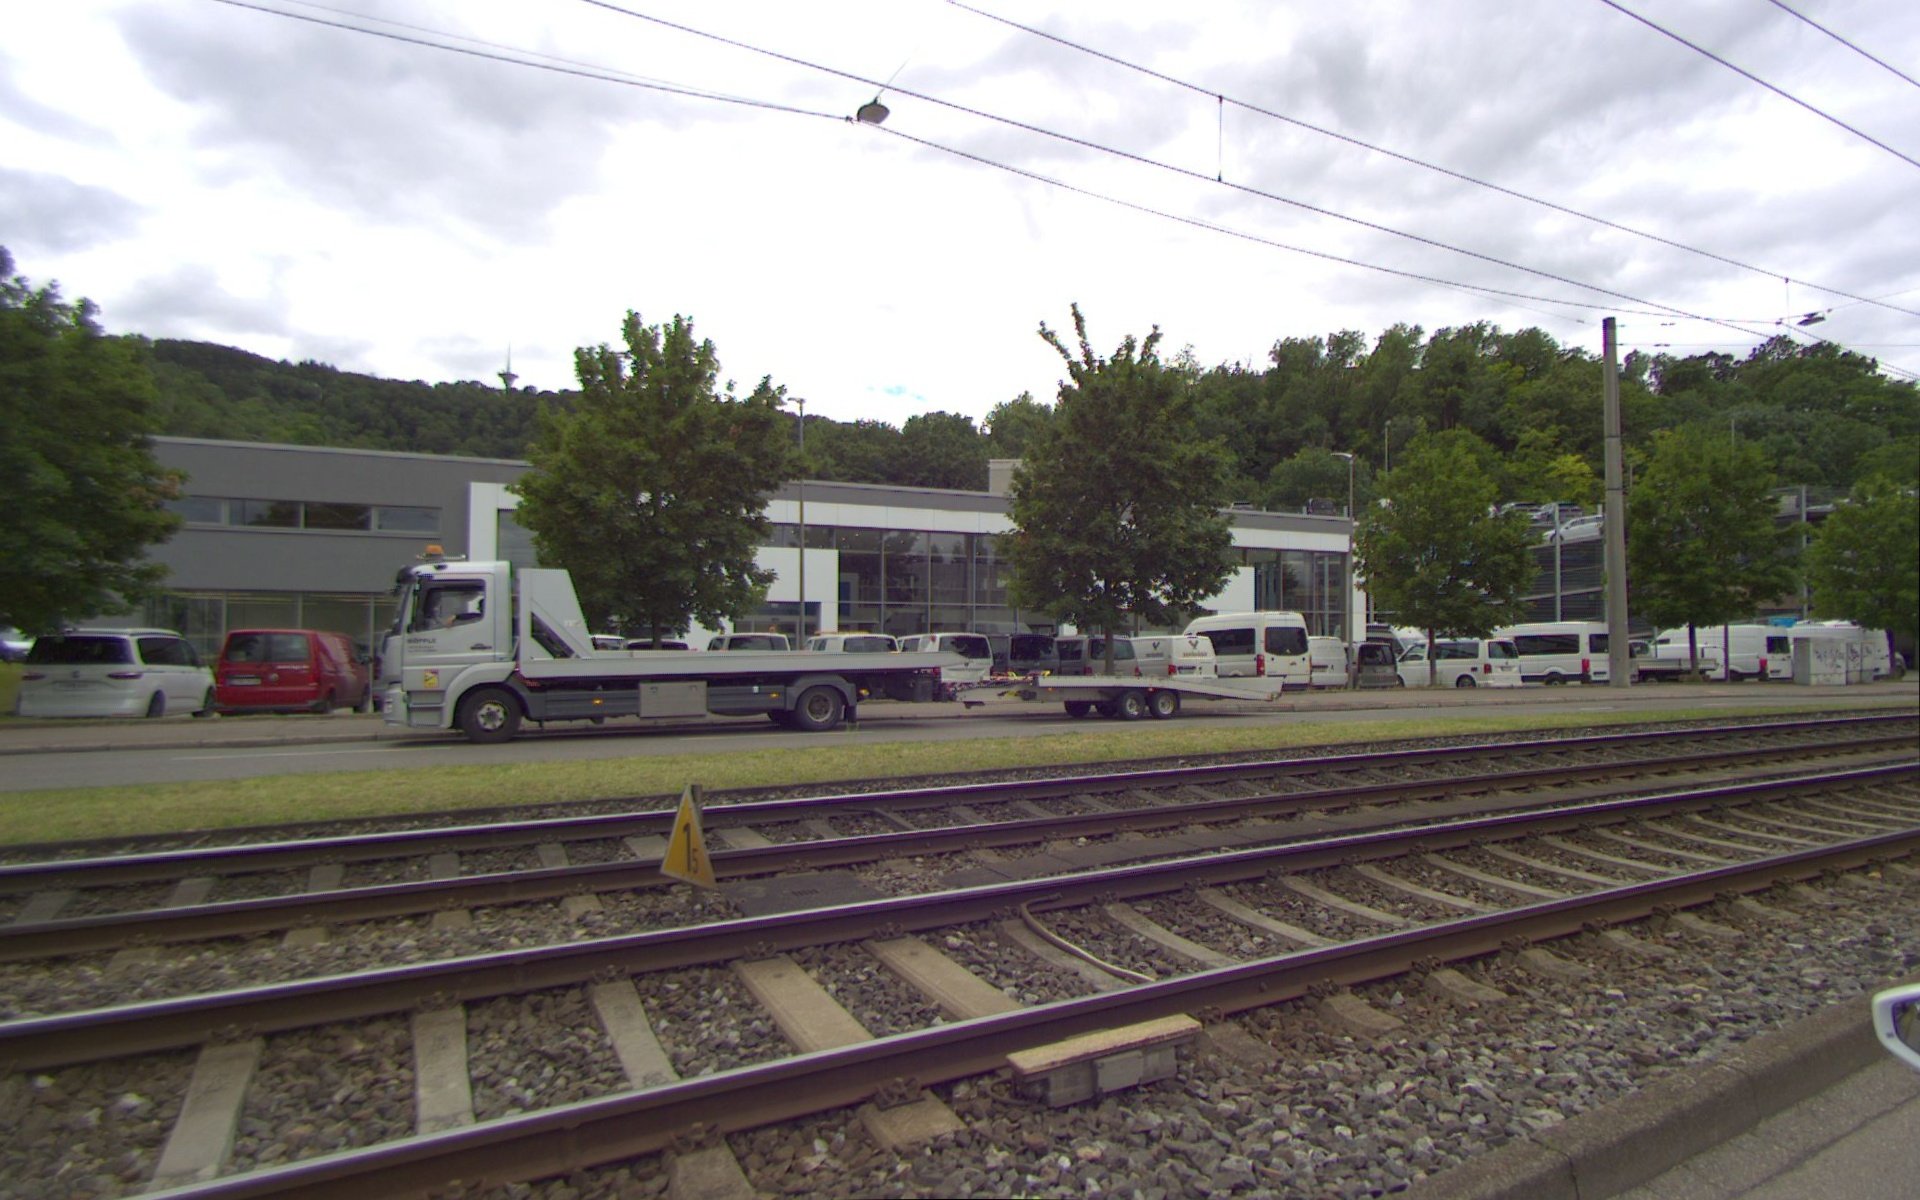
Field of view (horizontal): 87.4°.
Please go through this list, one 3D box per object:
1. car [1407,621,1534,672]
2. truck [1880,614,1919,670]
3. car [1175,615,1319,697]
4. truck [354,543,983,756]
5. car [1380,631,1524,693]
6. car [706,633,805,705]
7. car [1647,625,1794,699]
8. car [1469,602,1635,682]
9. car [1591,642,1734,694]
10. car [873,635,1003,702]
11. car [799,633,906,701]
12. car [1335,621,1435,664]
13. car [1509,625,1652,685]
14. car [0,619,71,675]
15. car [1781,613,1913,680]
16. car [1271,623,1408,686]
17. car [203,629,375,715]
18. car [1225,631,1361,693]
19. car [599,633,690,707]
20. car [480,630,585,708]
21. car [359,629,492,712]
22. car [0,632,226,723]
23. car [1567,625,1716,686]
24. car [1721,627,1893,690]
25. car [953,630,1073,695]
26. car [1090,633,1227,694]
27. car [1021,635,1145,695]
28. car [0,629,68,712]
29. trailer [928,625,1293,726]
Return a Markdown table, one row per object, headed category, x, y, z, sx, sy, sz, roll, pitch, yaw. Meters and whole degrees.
| category | x | y | z | sx | sy | sz | roll | pitch | yaw |
| --- | --- | --- | --- | --- | --- | --- | --- | --- | --- |
| car | 27.578 | 2.479 | 54.407 | 5.864 | 2.636 | 1.995 | -1 | -2 | 40 |
| truck | 54.175 | 2.322 | 55.356 | 2.077 | 3.125 | 5.943 | 0 | -2 | 8 |
| car | 8.757 | 1.662 | 31.109 | 2.093 | 2.342 | 4.491 | 1 | -2 | -20 |
| truck | -4.305 | 0.795 | 16.276 | 9.091 | 2.777 | 2.750 | 1 | -4 | -24 |
| car | 17.477 | 2.151 | 35.905 | 1.977 | 2.037 | 4.354 | 1 | -2 | -24 |
| car | -5.280 | 1.673 | 25.572 | 1.969 | 1.639 | 3.983 | 1 | -2 | -19 |
| car | 30.845 | 2.444 | 40.876 | 1.977 | 2.856 | 4.354 | 1 | -2 | -24 |
| car | 21.585 | 1.509 | 36.879 | 2.086 | 2.734 | 4.952 | 1 | -2 | -24 |
| car | 28.378 | 2.691 | 40.729 | 1.977 | 1.936 | 4.354 | 1 | -2 | -24 |
| car | -0.706 | 1.793 | 27.514 | 1.977 | 1.639 | 4.353 | 1 | -2 | -25 |
| car | -2.929 | 1.693 | 26.594 | 1.969 | 1.639 | 3.983 | 1 | -2 | -19 |
| car | 21.373 | 2.107 | 50.723 | 1.969 | 2.040 | 4.839 | 1 | -2 | -19 |
| car | 23.818 | 2.058 | 38.720 | 1.977 | 2.201 | 4.354 | 1 | -2 | -24 |
| car | -38.517 | 1.821 | 39.815 | 4.764 | 2.156 | 2.001 | 0 | -2 | 1 |
| car | 41.987 | 2.189 | 47.548 | 5.845 | 3.059 | 2.106 | 1 | -2 | -19 |
| car | 12.685 | 1.771 | 33.872 | 1.973 | 1.973 | 4.361 | 1 | -2 | -20 |
| car | -14.193 | 1.453 | 21.540 | 2.031 | 1.639 | 4.174 | 1 | -2 | -19 |
| car | 10.747 | 1.943 | 32.763 | 1.973 | 1.869 | 4.361 | 1 | -2 | -20 |
| car | -7.824 | 1.653 | 24.757 | 1.969 | 1.639 | 3.983 | 1 | -2 | -19 |
| car | -9.883 | 1.536 | 23.508 | 1.969 | 1.639 | 3.983 | 1 | -2 | -19 |
| car | -11.936 | 1.497 | 22.715 | 2.016 | 1.686 | 3.983 | 1 | -2 | -19 |
| car | -17.128 | 1.480 | 20.625 | 2.087 | 1.639 | 4.341 | 1 | -2 | -19 |
| car | 26.175 | 2.064 | 38.754 | 1.977 | 2.201 | 4.354 | 1 | -2 | -24 |
| car | 37.535 | 2.527 | 44.726 | 2.213 | 2.636 | 5.465 | 1 | -2 | -21 |
| car | 1.440 | 1.736 | 29.104 | 1.973 | 1.708 | 4.361 | 1 | -2 | -20 |
| car | 5.946 | 1.868 | 30.685 | 2.003 | 1.711 | 4.355 | 1 | -2 | -24 |
| car | 3.582 | 1.869 | 30.122 | 1.973 | 1.639 | 4.361 | 1 | -2 | -20 |
| car | -20.106 | 1.396 | 19.877 | 2.121 | 1.639 | 4.332 | 1 | -2 | -19 |
| trailer | 2.972 | 1.415 | 19.571 | 6.850 | 1.720 | 2.377 | 1 | -4 | -24 |
